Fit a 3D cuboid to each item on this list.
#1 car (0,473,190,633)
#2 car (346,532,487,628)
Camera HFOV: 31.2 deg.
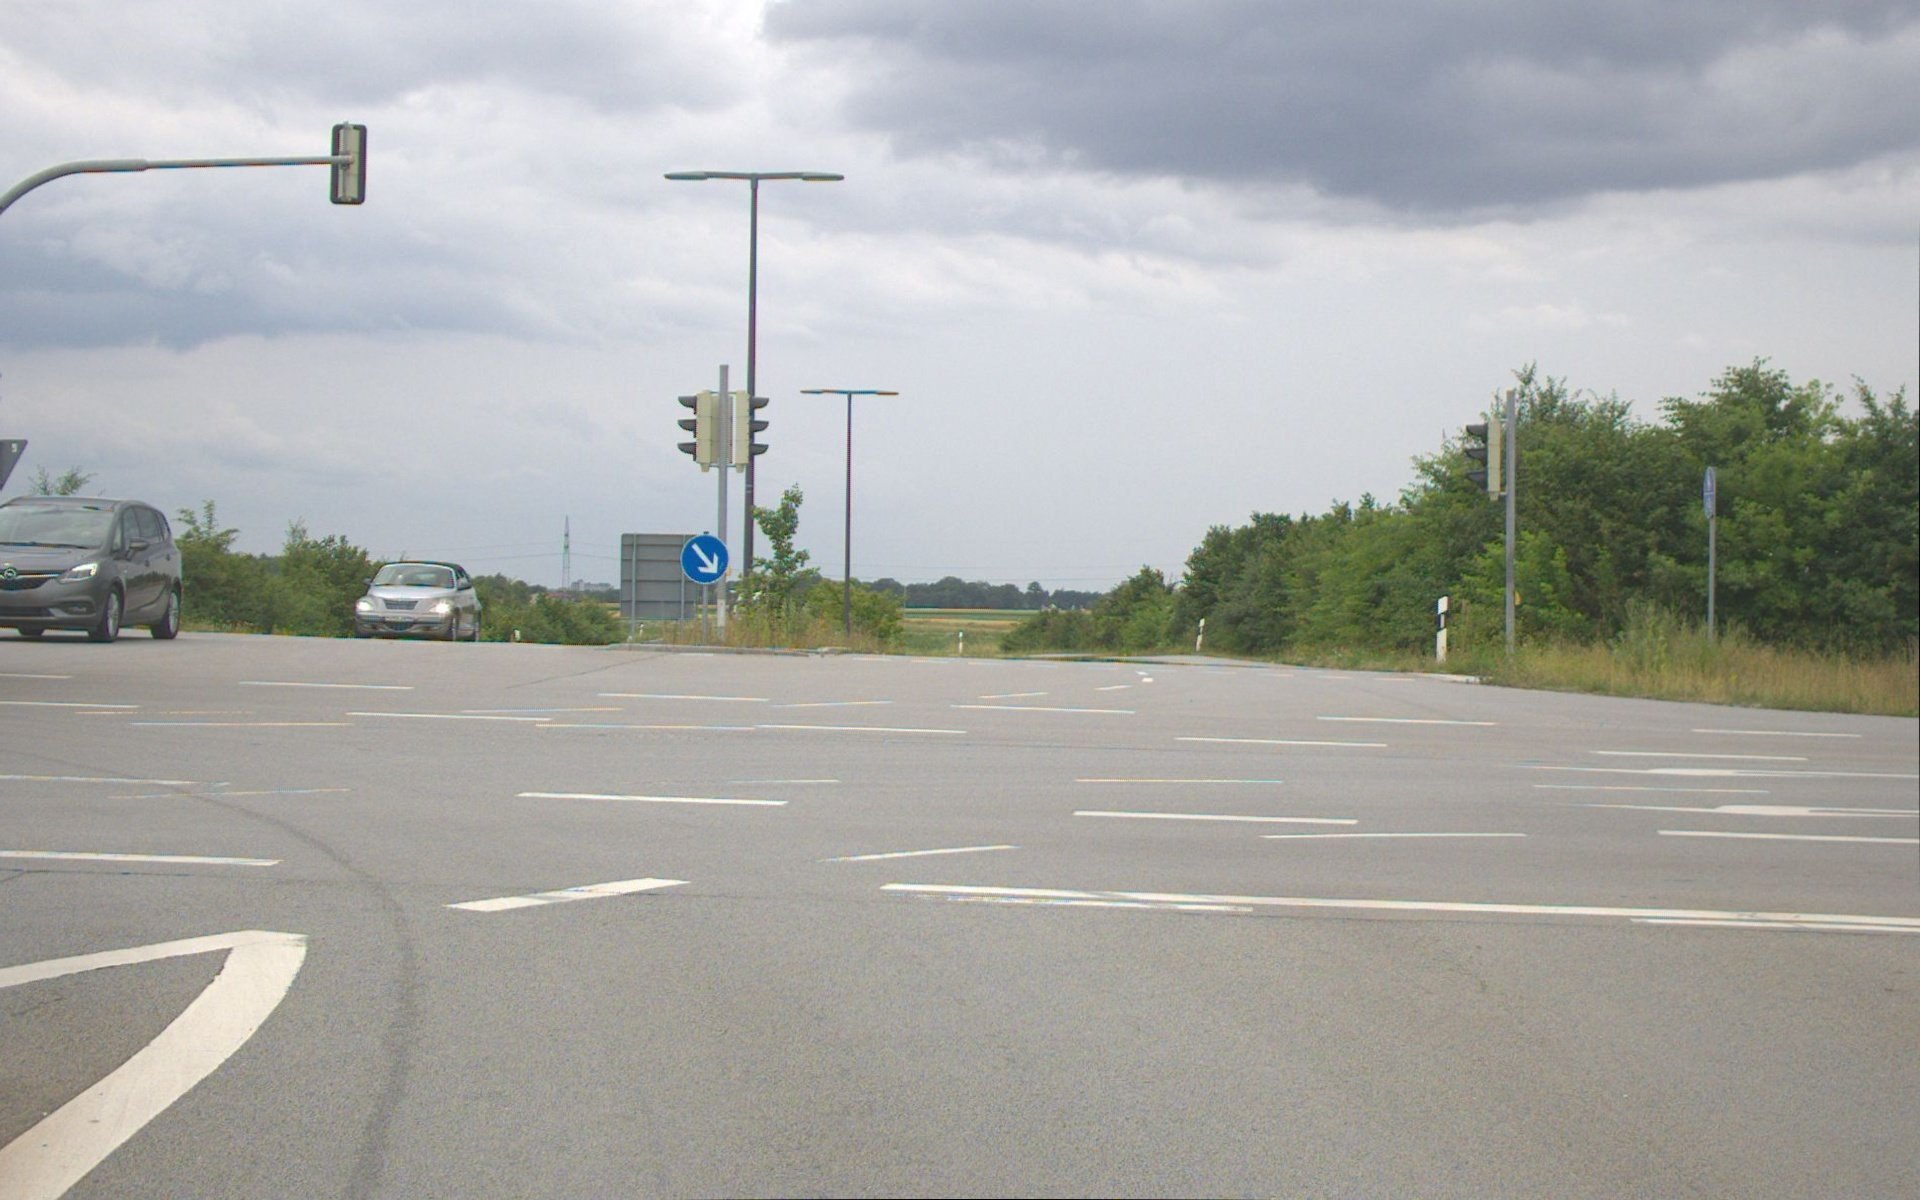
[{"bbox_3d":[-10.150,-0.526,38.710,1.993,1.688,4.455,1,1,-1],"label":"car"},{"bbox_3d":[-9.424,-0.379,59.894,1.810,1.515,4.243,2,2,-1],"label":"car"}]
